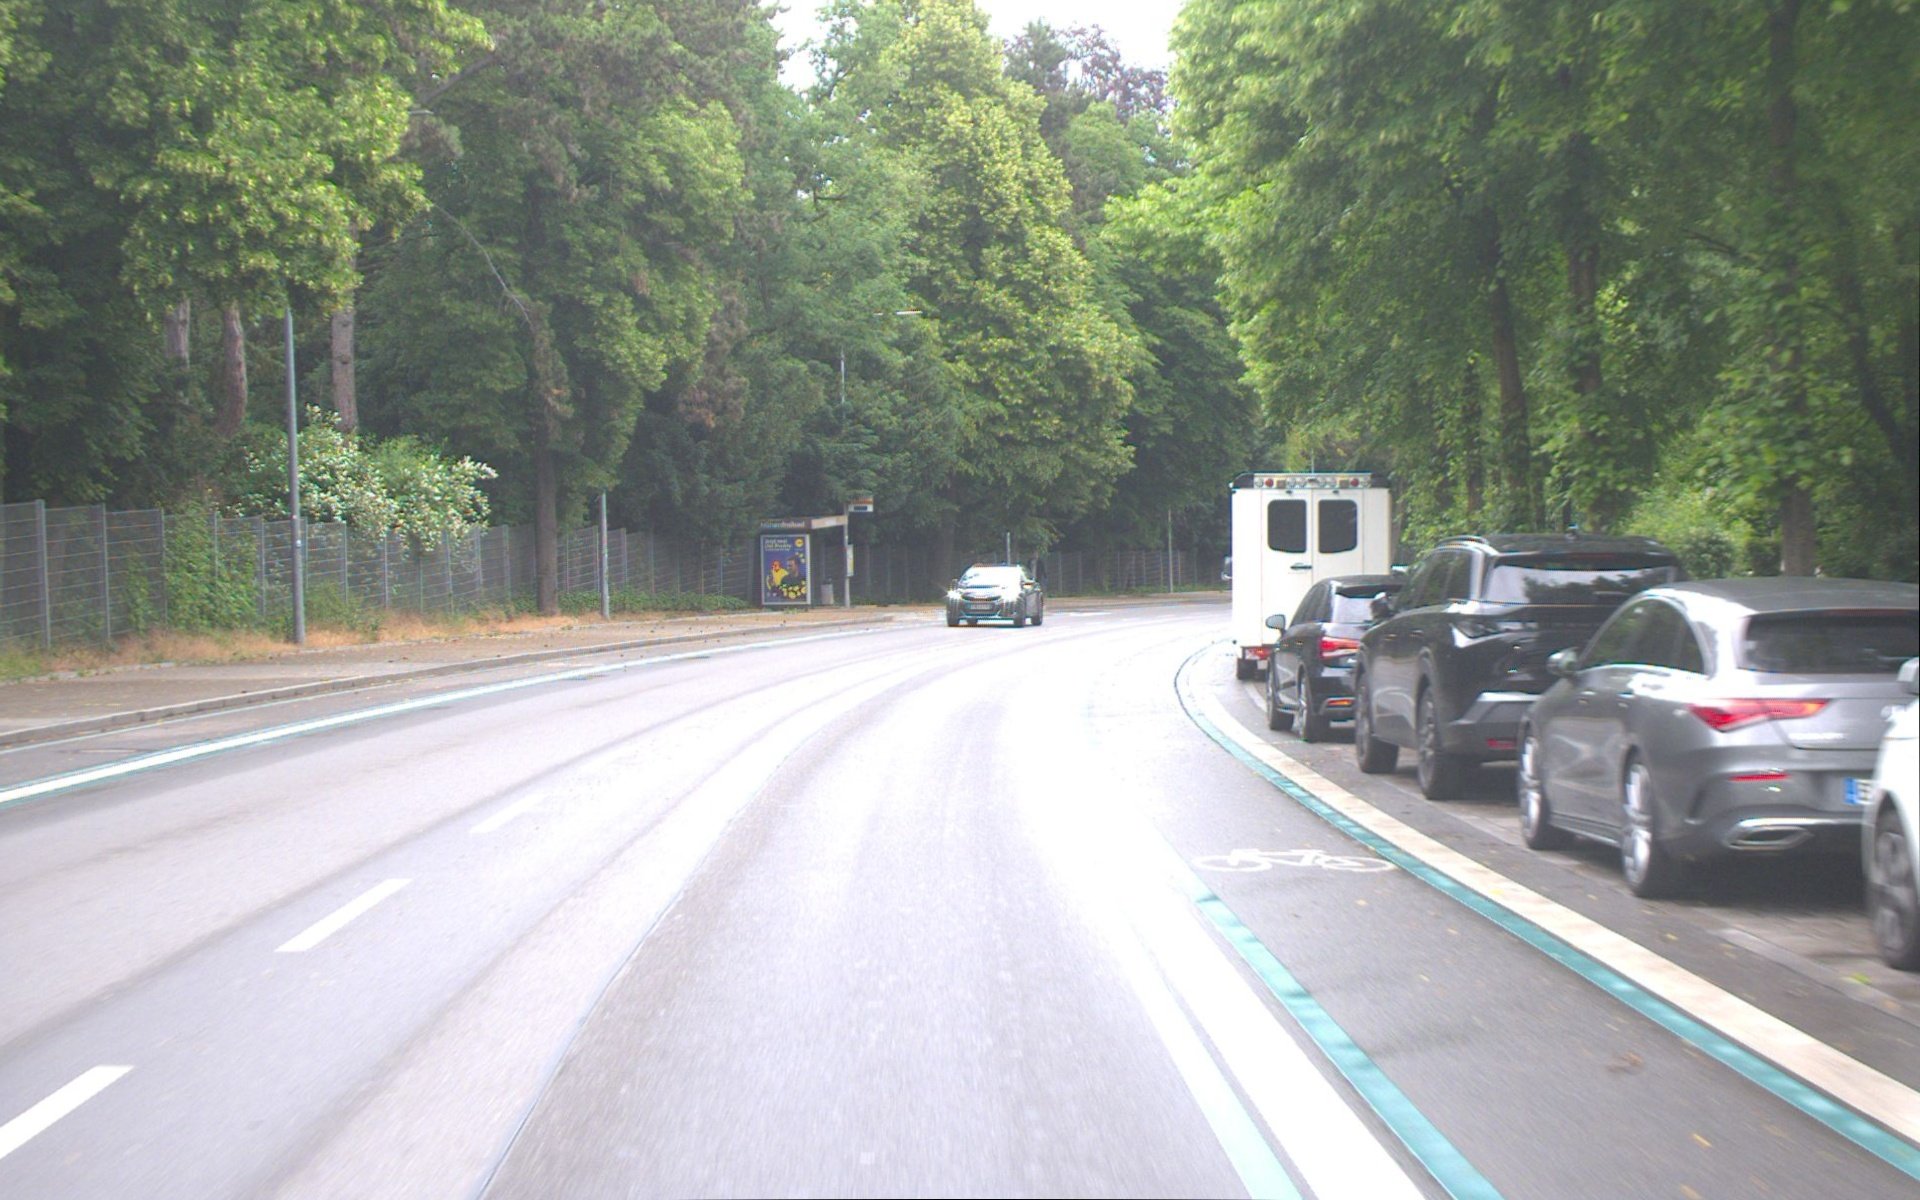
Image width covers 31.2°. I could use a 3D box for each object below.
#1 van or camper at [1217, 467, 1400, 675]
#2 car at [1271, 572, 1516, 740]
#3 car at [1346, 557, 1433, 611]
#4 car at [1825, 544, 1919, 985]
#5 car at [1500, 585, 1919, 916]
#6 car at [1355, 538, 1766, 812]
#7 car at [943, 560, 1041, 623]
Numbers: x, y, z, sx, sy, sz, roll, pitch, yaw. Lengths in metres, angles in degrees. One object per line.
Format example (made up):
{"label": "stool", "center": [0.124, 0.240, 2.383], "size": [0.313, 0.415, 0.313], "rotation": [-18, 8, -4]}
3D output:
{"label": "van or camper", "center": [4.785, -0.426, 47.216], "size": [2.317, 2.655, 6.381], "rotation": [0, 1, 6]}
{"label": "car", "center": [3.765, 0.468, 30.417], "size": [1.678, 1.371, 4.000], "rotation": [0, 0, 0]}
{"label": "car", "center": [11.906, -0.455, 95.115], "size": [1.861, 1.423, 4.647], "rotation": [1, 1, 14]}
{"label": "car", "center": [4.178, 0.584, 11.260], "size": [1.661, 1.530, 3.741], "rotation": [0, 1, -1]}
{"label": "car", "center": [3.770, 0.602, 16.204], "size": [1.775, 1.343, 4.466], "rotation": [0, 0, 0]}
{"label": "car", "center": [3.873, 0.466, 22.928], "size": [1.993, 1.639, 4.348], "rotation": [0, 0, 0]}
{"label": "car", "center": [0.782, -0.223, 81.563], "size": [1.760, 1.432, 4.149], "rotation": [0, 1, 9]}
